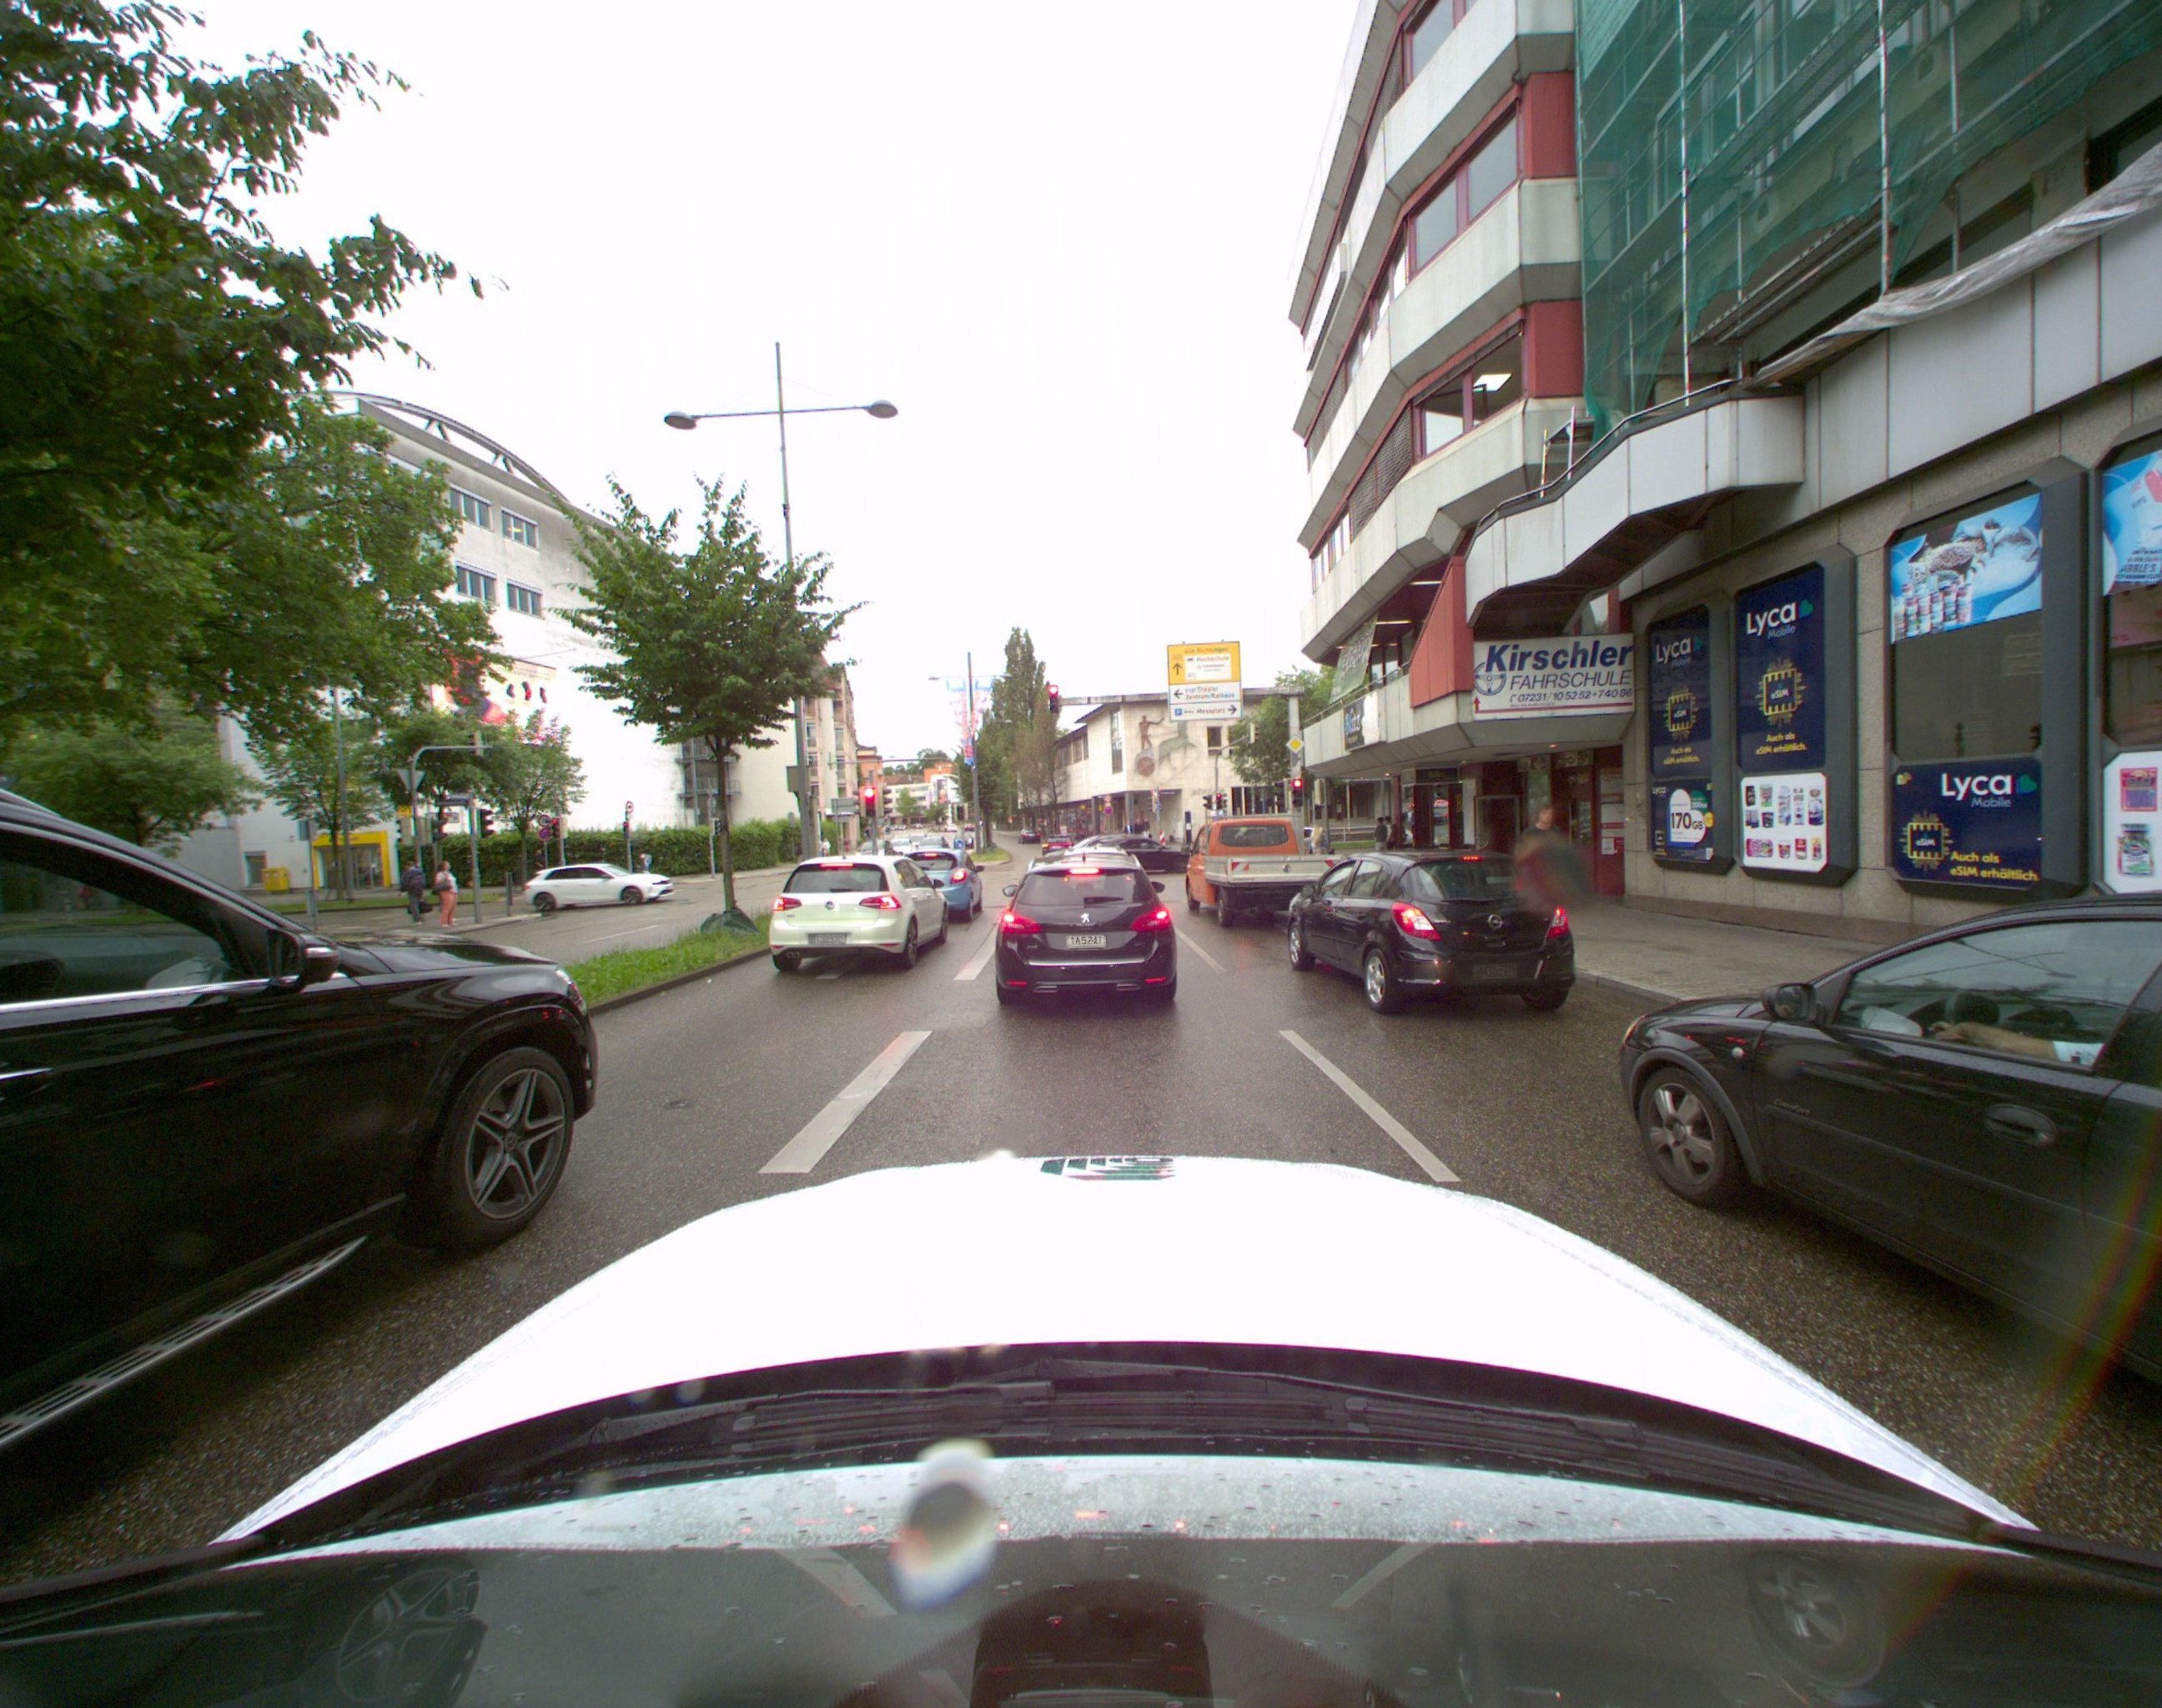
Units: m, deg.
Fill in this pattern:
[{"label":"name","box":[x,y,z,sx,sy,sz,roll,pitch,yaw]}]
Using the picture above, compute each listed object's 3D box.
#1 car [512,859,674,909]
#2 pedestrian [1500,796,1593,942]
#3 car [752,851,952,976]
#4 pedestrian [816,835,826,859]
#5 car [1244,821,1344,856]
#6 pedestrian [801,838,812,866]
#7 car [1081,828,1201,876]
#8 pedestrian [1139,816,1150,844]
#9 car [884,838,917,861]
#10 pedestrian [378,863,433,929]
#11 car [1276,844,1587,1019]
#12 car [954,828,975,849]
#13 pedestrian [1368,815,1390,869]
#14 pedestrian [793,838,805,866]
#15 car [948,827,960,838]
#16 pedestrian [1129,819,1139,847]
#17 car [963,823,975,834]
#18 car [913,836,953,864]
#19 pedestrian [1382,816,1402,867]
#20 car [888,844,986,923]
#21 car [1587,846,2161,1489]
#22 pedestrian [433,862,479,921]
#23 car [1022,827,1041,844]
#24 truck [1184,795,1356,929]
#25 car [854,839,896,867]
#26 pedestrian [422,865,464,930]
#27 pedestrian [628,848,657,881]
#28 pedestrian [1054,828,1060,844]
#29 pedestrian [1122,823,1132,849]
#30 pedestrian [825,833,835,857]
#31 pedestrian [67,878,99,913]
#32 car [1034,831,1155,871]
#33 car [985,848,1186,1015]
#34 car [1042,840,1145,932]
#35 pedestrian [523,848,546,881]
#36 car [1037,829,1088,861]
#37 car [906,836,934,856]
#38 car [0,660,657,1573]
[{"label":"car","box":[-16.153,0.968,27.155,4.290,1.486,1.634,-1,1,-9]},{"label":"pedestrian","box":[6.213,0.199,10.914,0.736,1.816,0.776,-6,-1,13]},{"label":"car","box":[-3.039,0.702,11.639,1.772,1.429,3.841,-1,1,-1]},{"label":"pedestrian","box":[-18.828,-0.483,58.933,0.595,1.728,0.655,-1,-1,-7]},{"label":"car","box":[9.250,-0.669,35.526,3.896,1.486,1.617,0,-1,-11]},{"label":"pedestrian","box":[-17.604,-0.133,52.161,0.538,1.748,0.564,-1,-1,-3]},{"label":"car","box":[2.242,-0.079,30.787,4.226,1.565,1.699,-3,1,-9]},{"label":"pedestrian","box":[4.365,-1.661,55.864,0.633,1.897,0.735,-1,-1,8]},{"label":"car","box":[-12.025,-0.319,54.514,1.630,1.486,3.604,-1,1,-4]},{"label":"pedestrian","box":[-18.649,1.137,22.505,0.921,1.784,0.708,-1,-1,-4]},{"label":"car","box":[3.383,0.617,8.699,1.611,1.429,3.840,-1,1,-1]},{"label":"car","box":[-10.099,-1.345,70.673,1.743,1.640,3.988,-1,-1,-9]},{"label":"pedestrian","box":[9.582,-0.381,26.194,0.424,1.682,0.450,-3,-1,0]},{"label":"pedestrian","box":[-17.483,-0.110,50.458,0.538,1.748,0.745,-1,-1,-7]},{"label":"car","box":[-22.995,-3.820,146.868,1.709,1.882,3.979,0,-1,-15]},{"label":"pedestrian","box":[3.643,-1.429,55.809,0.633,1.897,0.735,-1,-1,8]},{"label":"car","box":[-20.397,-4.601,148.007,1.709,1.936,3.979,0,-1,-15]},{"label":"car","box":[-8.708,-0.214,48.237,1.739,1.579,3.997,-1,-1,-1]},{"label":"pedestrian","box":[10.138,-0.402,26.588,0.395,1.640,0.504,-3,-1,2]},{"label":"car","box":[-3.010,0.548,17.636,1.629,1.486,3.606,-1,1,-3]},{"label":"car","box":[3.271,0.712,2.288,1.600,1.429,3.626,-1,1,3]},{"label":"pedestrian","box":[-18.340,1.079,23.898,0.750,1.661,0.628,-2,2,1]},{"label":"car","box":[-4.983,-1.803,80.909,1.722,1.490,4.723,-1,-1,-5]},{"label":"truck","box":[3.432,0.075,15.895,2.170,2.172,5.020,-1,1,0]},{"label":"car","box":[-11.974,-0.088,47.479,1.569,1.486,3.608,-1,1,-1]},{"label":"pedestrian","box":[-16.983,1.142,21.675,0.555,1.661,0.580,-2,2,2]},{"label":"pedestrian","box":[-21.639,0.522,40.206,1.059,1.578,0.683,-1,-1,-3]},{"label":"pedestrian","box":[-2.673,-2.015,91.025,0.469,1.748,0.537,0,-1,-19]},{"label":"pedestrian","box":[3.085,-1.196,54.562,0.633,1.758,0.735,-1,-1,8]},{"label":"pedestrian","box":[-18.304,-0.678,59.393,0.595,1.728,0.655,-1,-1,-7]},{"label":"pedestrian","box":[-48.528,2.005,39.587,0.633,1.643,0.735,-1,-1,8]},{"label":"car","box":[0.530,-0.148,33.157,4.724,1.486,1.632,-1,1,-11]},{"label":"car","box":[0.042,0.672,9.152,1.772,1.429,3.841,-1,1,0]},{"label":"car","box":[0.258,0.500,15.342,1.690,1.486,3.795,-1,1,2]},{"label":"pedestrian","box":[-27.460,0.526,40.923,0.730,1.643,0.638,-1,-1,-6]},{"label":"car","box":[-0.957,-0.527,44.520,1.775,1.454,4.522,-3,3,11]},{"label":"car","box":[-12.174,-0.643,61.670,1.630,1.486,3.604,-1,1,-4]},{"label":"car","box":[-3.173,0.546,1.652,1.905,1.870,5.073,-1,-1,1]}]
